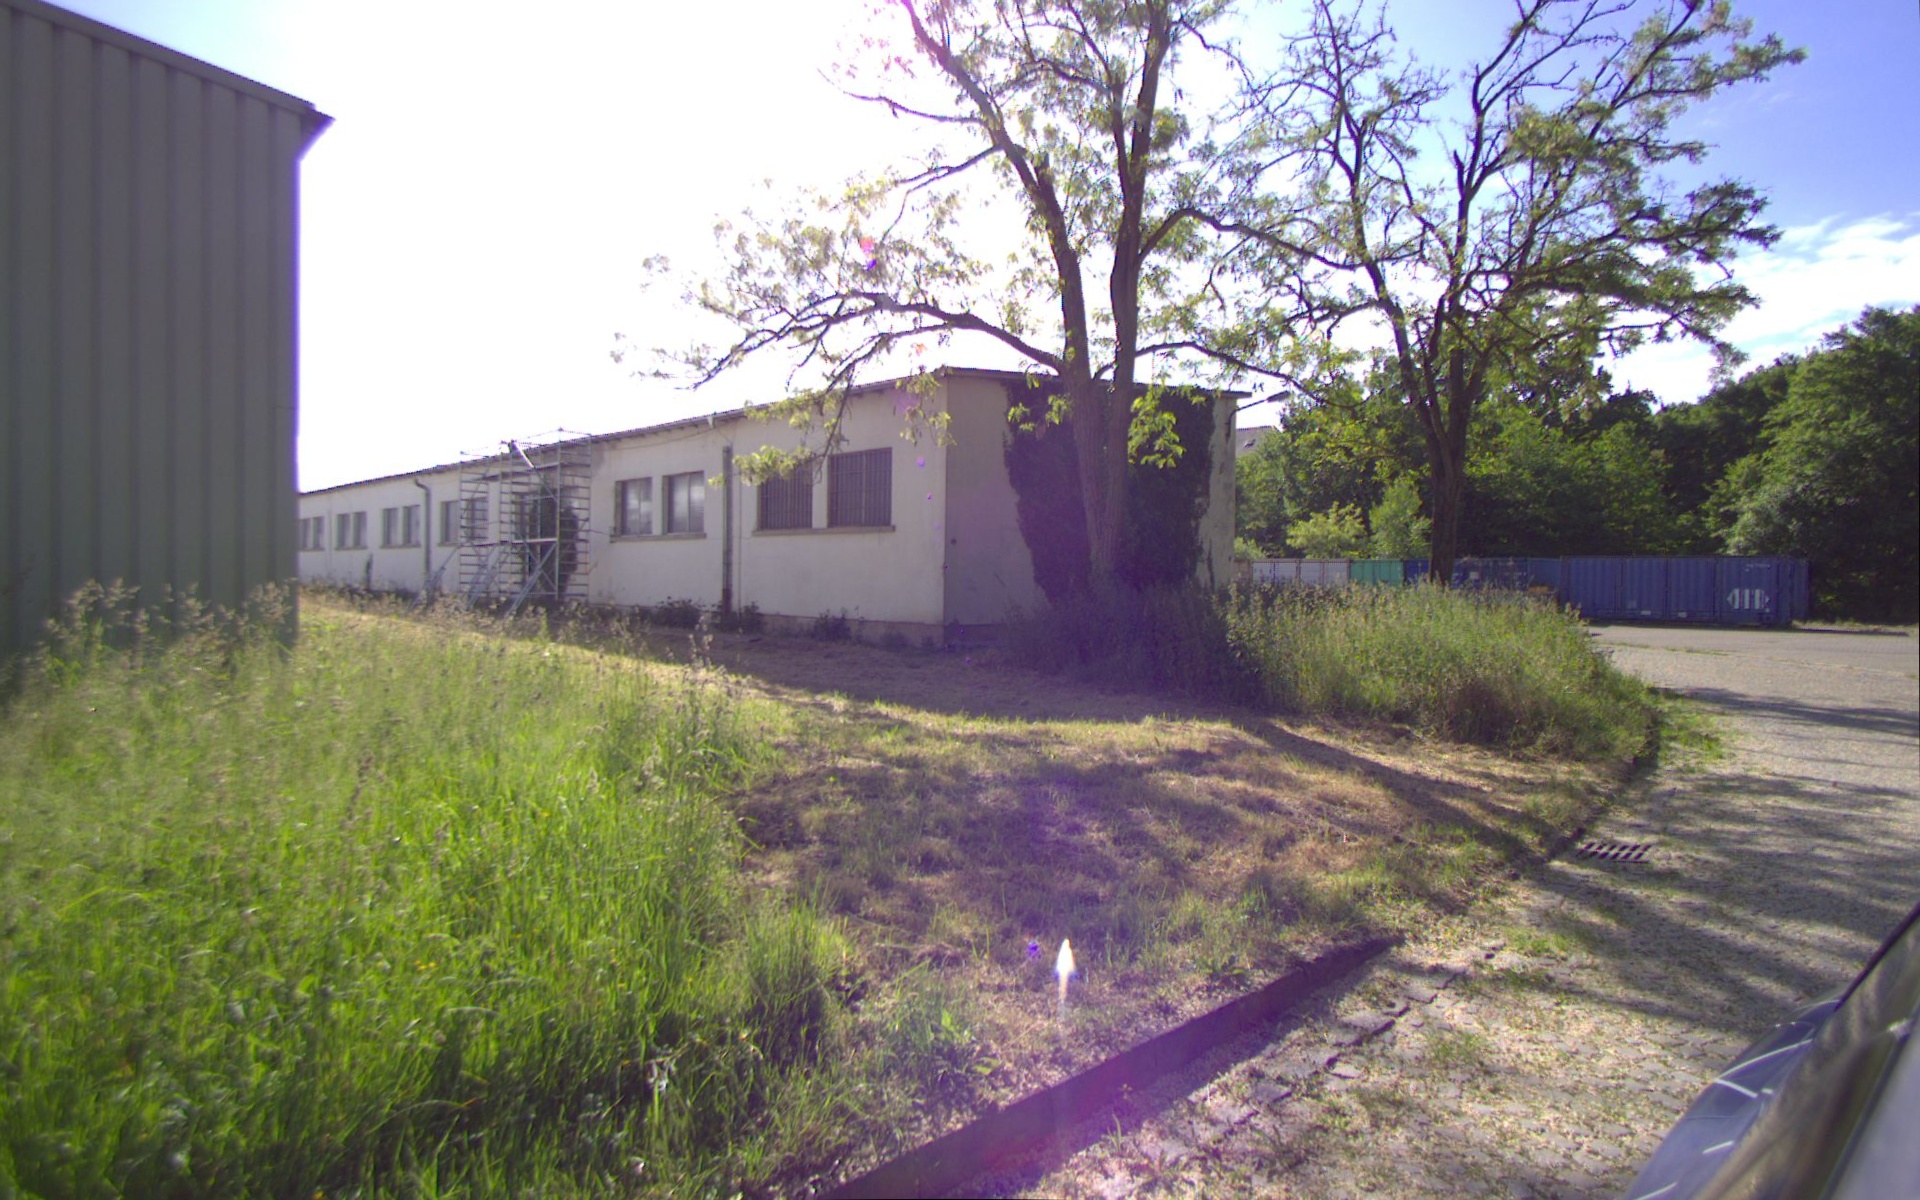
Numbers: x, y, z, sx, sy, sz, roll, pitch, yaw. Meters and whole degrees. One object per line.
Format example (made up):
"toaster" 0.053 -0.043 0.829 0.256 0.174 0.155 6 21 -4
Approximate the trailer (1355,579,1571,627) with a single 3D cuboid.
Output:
"trailer" 18.029 0.025 36.555 6.472 1.536 2.811 1 2 44

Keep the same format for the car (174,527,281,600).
"car" -22.000 -1.076 30.329 3.988 2.039 1.968 2 2 44
